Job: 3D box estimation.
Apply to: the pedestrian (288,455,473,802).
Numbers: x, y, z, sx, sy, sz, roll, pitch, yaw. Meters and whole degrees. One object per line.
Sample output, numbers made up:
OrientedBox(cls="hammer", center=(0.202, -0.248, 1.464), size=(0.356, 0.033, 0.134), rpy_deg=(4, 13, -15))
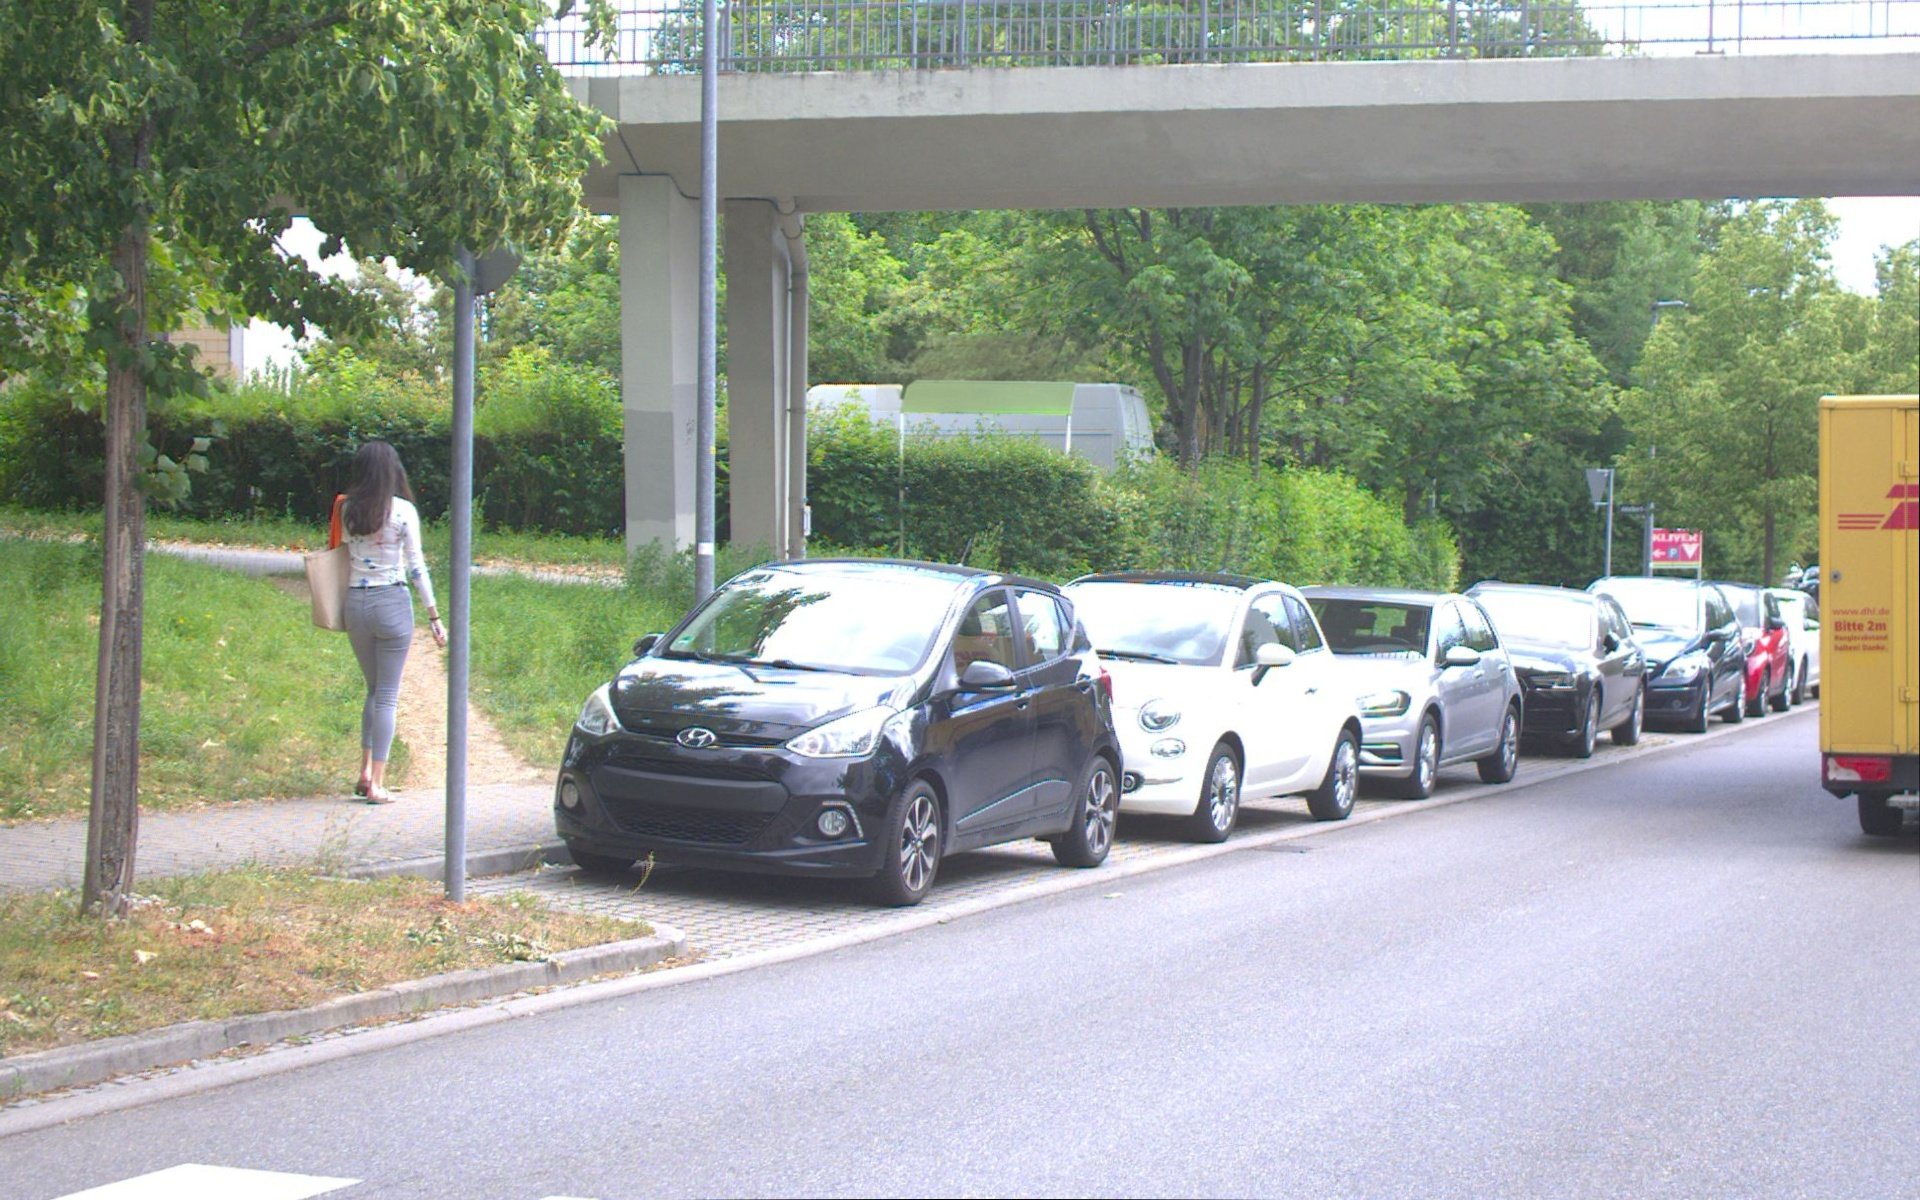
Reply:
OrientedBox(cls="pedestrian", center=(-2.950, 0.131, 17.550), size=(0.737, 1.716, 0.660), rpy_deg=(2, 2, 8))

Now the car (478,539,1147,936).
OrientedBox(cls="car", center=(-0.550, 0.529, 16.351), size=(1.788, 1.463, 3.997), rpy_deg=(4, 3, 18))

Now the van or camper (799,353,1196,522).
OrientedBox(cls="van or camper", center=(0.513, -2.160, 45.720), size=(4.858, 2.078, 1.999), rpy_deg=(2, 2, 17))

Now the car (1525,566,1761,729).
OrientedBox(cls="car", center=(7.507, 0.472, 37.516), size=(1.886, 1.553, 3.834), rpy_deg=(4, 2, 20))

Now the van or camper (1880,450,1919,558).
OrientedBox(cls="van or camper", center=(30.763, -3.003, 108.542), size=(2.324, 2.861, 5.261), rpy_deg=(4, 8, 6))

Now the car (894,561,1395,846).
OrientedBox(cls="car", center=(1.199, 0.591, 20.606), size=(1.887, 1.455, 3.542), rpy_deg=(3, 0, 22))

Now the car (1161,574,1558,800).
OrientedBox(cls="car", center=(3.043, 0.573, 25.450), size=(1.887, 1.422, 3.996), rpy_deg=(3, 2, 22))

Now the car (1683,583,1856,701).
OrientedBox(cls="car", center=(10.888, 0.527, 46.087), size=(1.676, 1.431, 3.965), rpy_deg=(2, 1, 21))

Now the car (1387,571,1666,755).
OrientedBox(cls="car", center=(5.342, 0.519, 31.971), size=(1.886, 1.504, 4.448), rpy_deg=(2, 1, 18))

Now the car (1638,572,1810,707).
OrientedBox(cls="car", center=(9.219, 0.449, 41.380), size=(1.530, 1.501, 2.709), rpy_deg=(3, 1, 22))

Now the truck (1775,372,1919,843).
OrientedBox(cls="truck", center=(7.124, 0.030, 22.724), size=(2.469, 2.693, 6.817), rpy_deg=(2, 1, 20))
